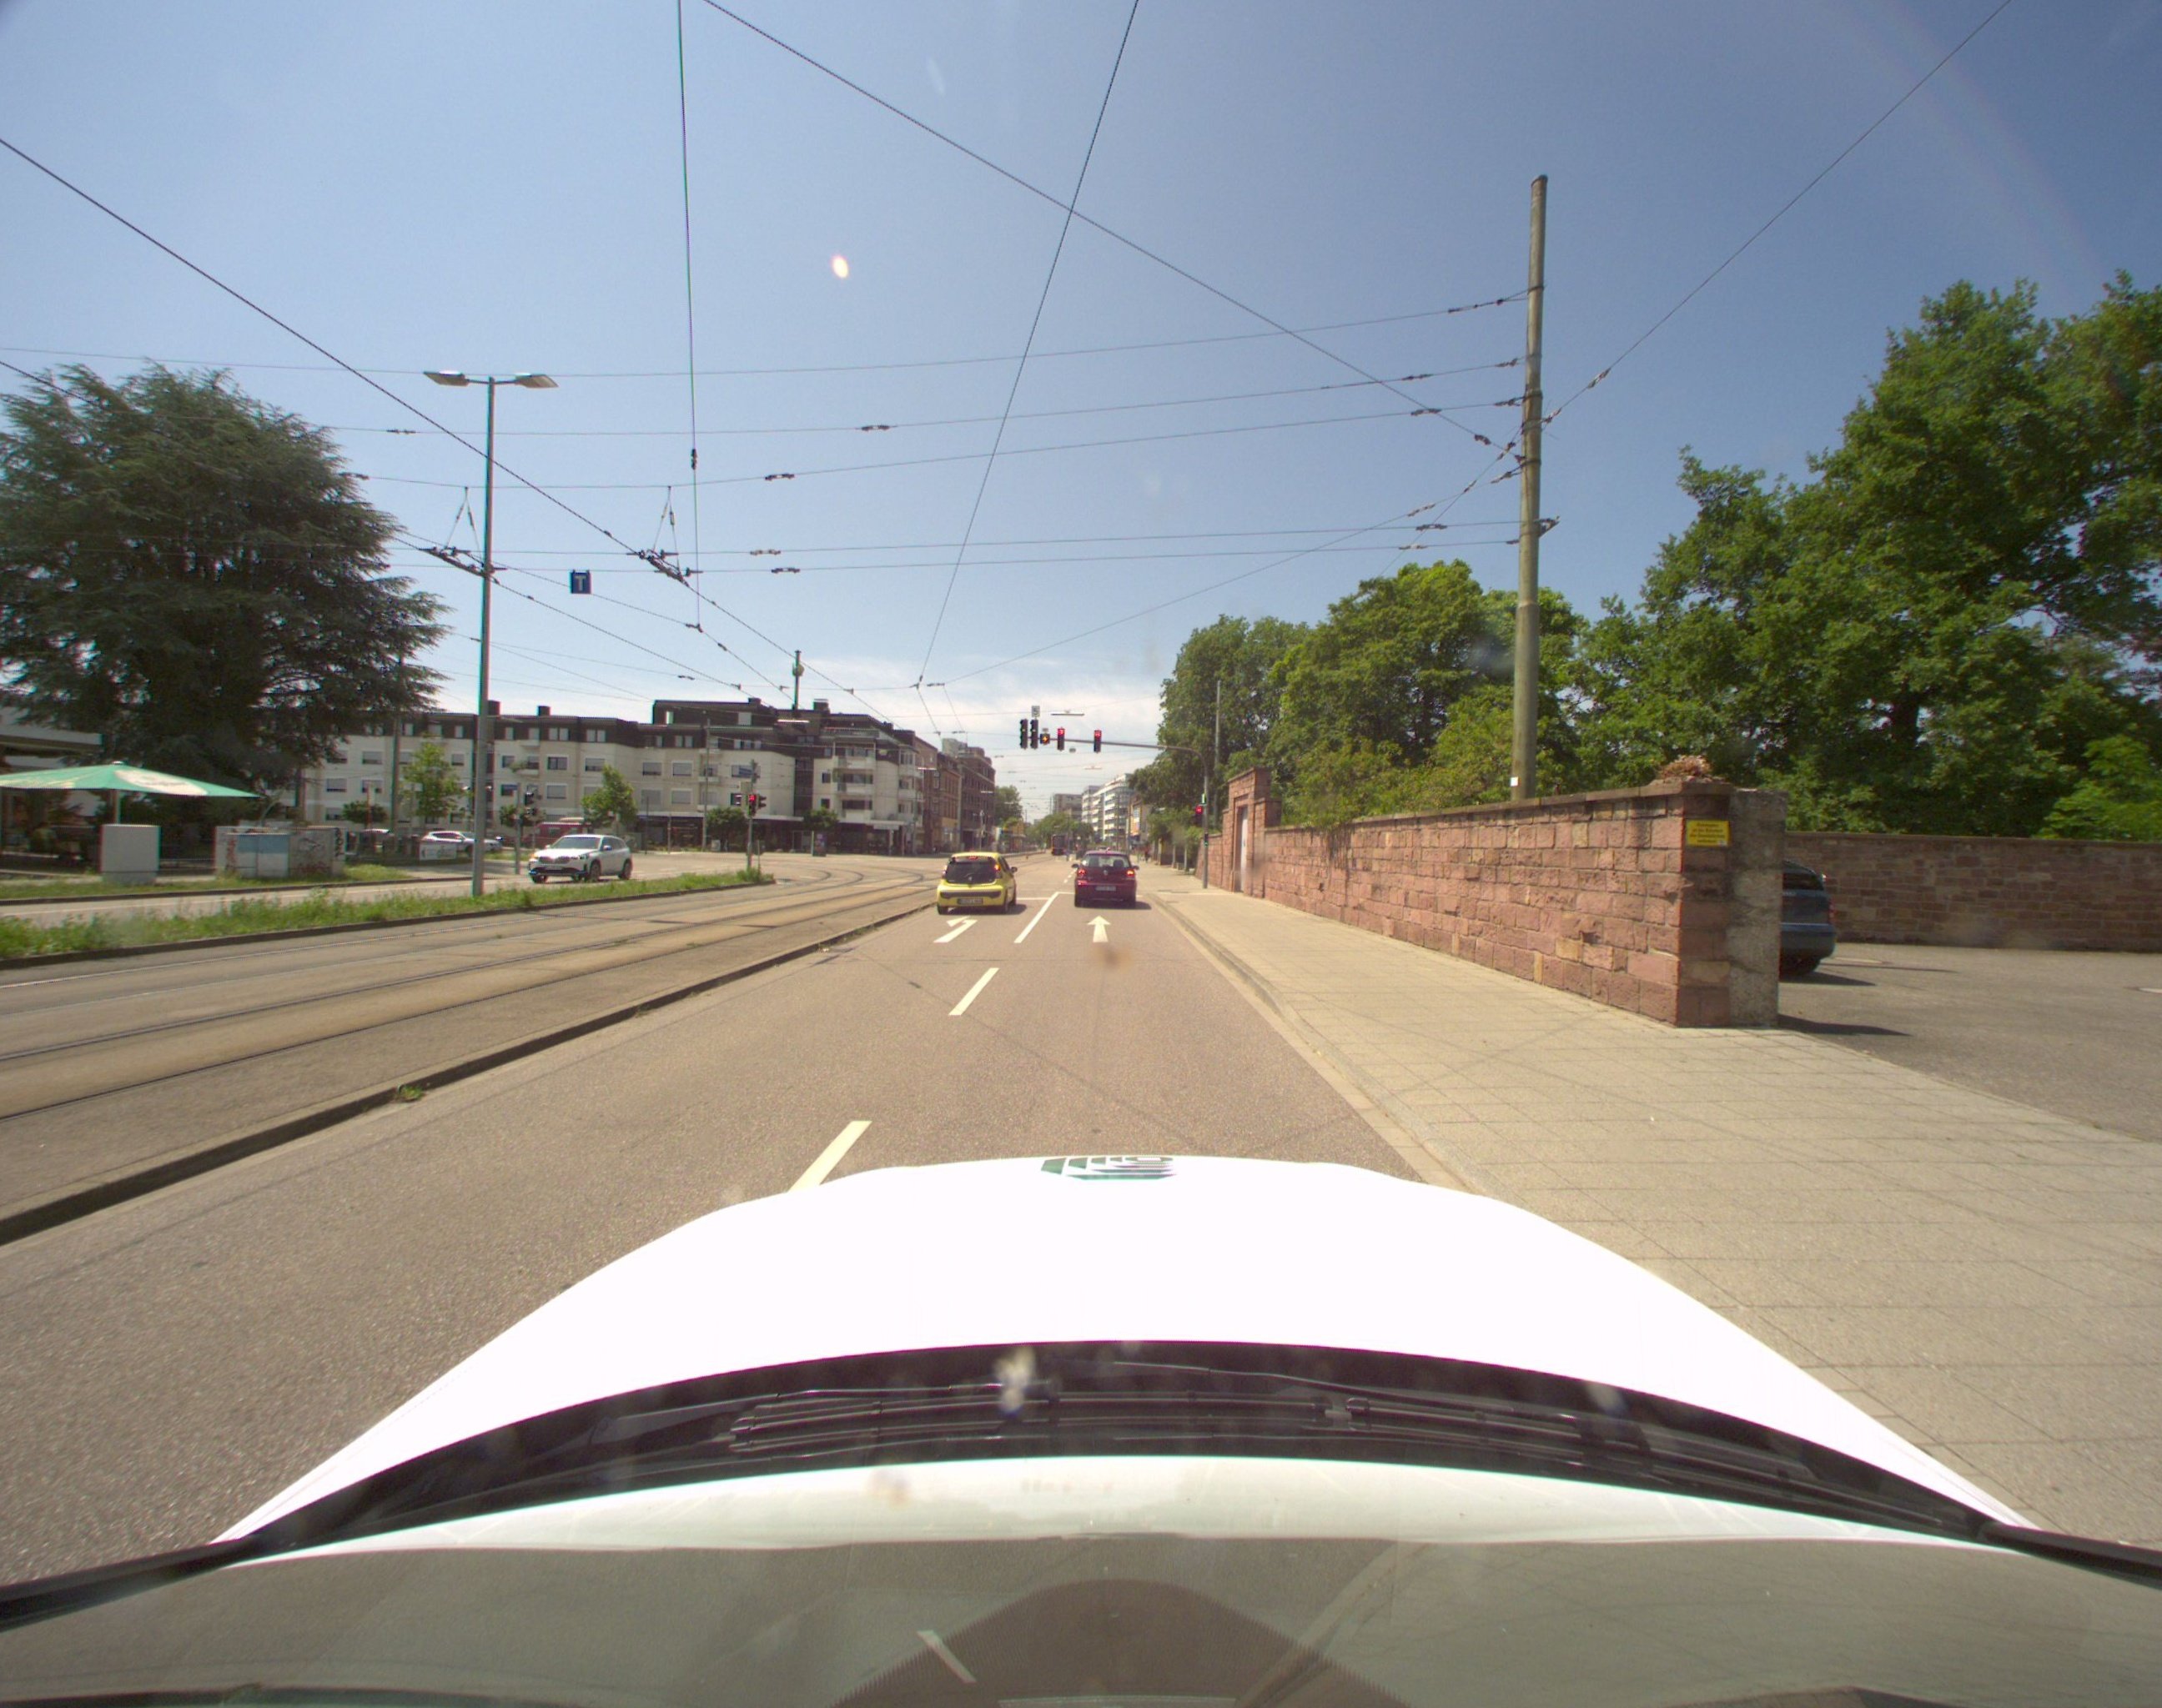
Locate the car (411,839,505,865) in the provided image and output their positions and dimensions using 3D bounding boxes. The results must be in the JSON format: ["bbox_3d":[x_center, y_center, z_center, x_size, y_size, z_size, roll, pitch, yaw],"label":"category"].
[{"bbox_3d":[-38.221,-0.120,50.067,4.136,1.584,1.934,0,0,-8],"label":"car"}]

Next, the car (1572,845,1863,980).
[{"bbox_3d":[8.095,0.649,10.688,1.476,1.482,2.944,2,0,-1],"label":"car"}]

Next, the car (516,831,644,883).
[{"bbox_3d":[-16.805,0.110,27.622,1.720,1.610,4.564,0,0,-4],"label":"car"}]

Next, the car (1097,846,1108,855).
[{"bbox_3d":[3.256,-0.519,122.605,1.567,1.415,3.721,-1,0,1],"label":"car"}]

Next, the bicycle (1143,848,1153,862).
[{"bbox_3d":[7.124,0.116,87.090,0.832,1.525,4.001,0,0,2],"label":"bicycle"}]

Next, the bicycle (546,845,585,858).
[{"bbox_3d":[-32.184,-0.151,50.817,1.987,0.783,0.463,0,-1,-20],"label":"bicycle"}]

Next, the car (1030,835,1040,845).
[{"bbox_3d":[-9.507,-2.847,169.690,1.728,2.013,4.002,1,0,2],"label":"car"}]

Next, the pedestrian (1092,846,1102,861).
[{"bbox_3d":[1.742,-0.039,88.672,0.979,1.661,0.918,1,0,-3],"label":"pedestrian"}]

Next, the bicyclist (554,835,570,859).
[{"bbox_3d":[-32.292,-0.410,50.679,0.752,1.501,0.479,0,-1,-20],"label":"bicyclist"}]

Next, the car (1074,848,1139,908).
[{"bbox_3d":[0.680,0.594,22.590,1.604,1.463,4.086,2,0,1],"label":"car"}]

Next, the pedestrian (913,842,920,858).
[{"bbox_3d":[-18.577,-0.445,92.188,0.614,1.754,0.499,1,-1,-43],"label":"pedestrian"}]

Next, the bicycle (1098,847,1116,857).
[{"bbox_3d":[2.759,-0.206,87.436,1.861,1.008,0.578,0,-1,-3],"label":"bicycle"}]

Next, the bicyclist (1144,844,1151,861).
[{"bbox_3d":[7.107,-0.147,87.522,0.719,1.818,0.889,0,-1,1],"label":"bicyclist"}]

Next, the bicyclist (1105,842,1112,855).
[{"bbox_3d":[2.984,-0.598,87.541,0.764,1.406,0.506,0,-1,-3],"label":"bicyclist"}]

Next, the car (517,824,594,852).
[{"bbox_3d":[-45.155,-1.371,70.064,5.048,2.341,2.244,0,-1,0],"label":"car"}]

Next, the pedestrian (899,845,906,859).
[{"bbox_3d":[-19.461,-0.197,88.840,0.479,1.541,0.541,0,-1,31],"label":"pedestrian"}]

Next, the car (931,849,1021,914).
[{"bbox_3d":[-2.519,0.612,20.201,1.717,1.445,3.293,0,1,1],"label":"car"}]

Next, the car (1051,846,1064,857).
[{"bbox_3d":[-3.806,-0.387,132.231,1.931,1.641,4.001,0,0,1],"label":"car"}]
